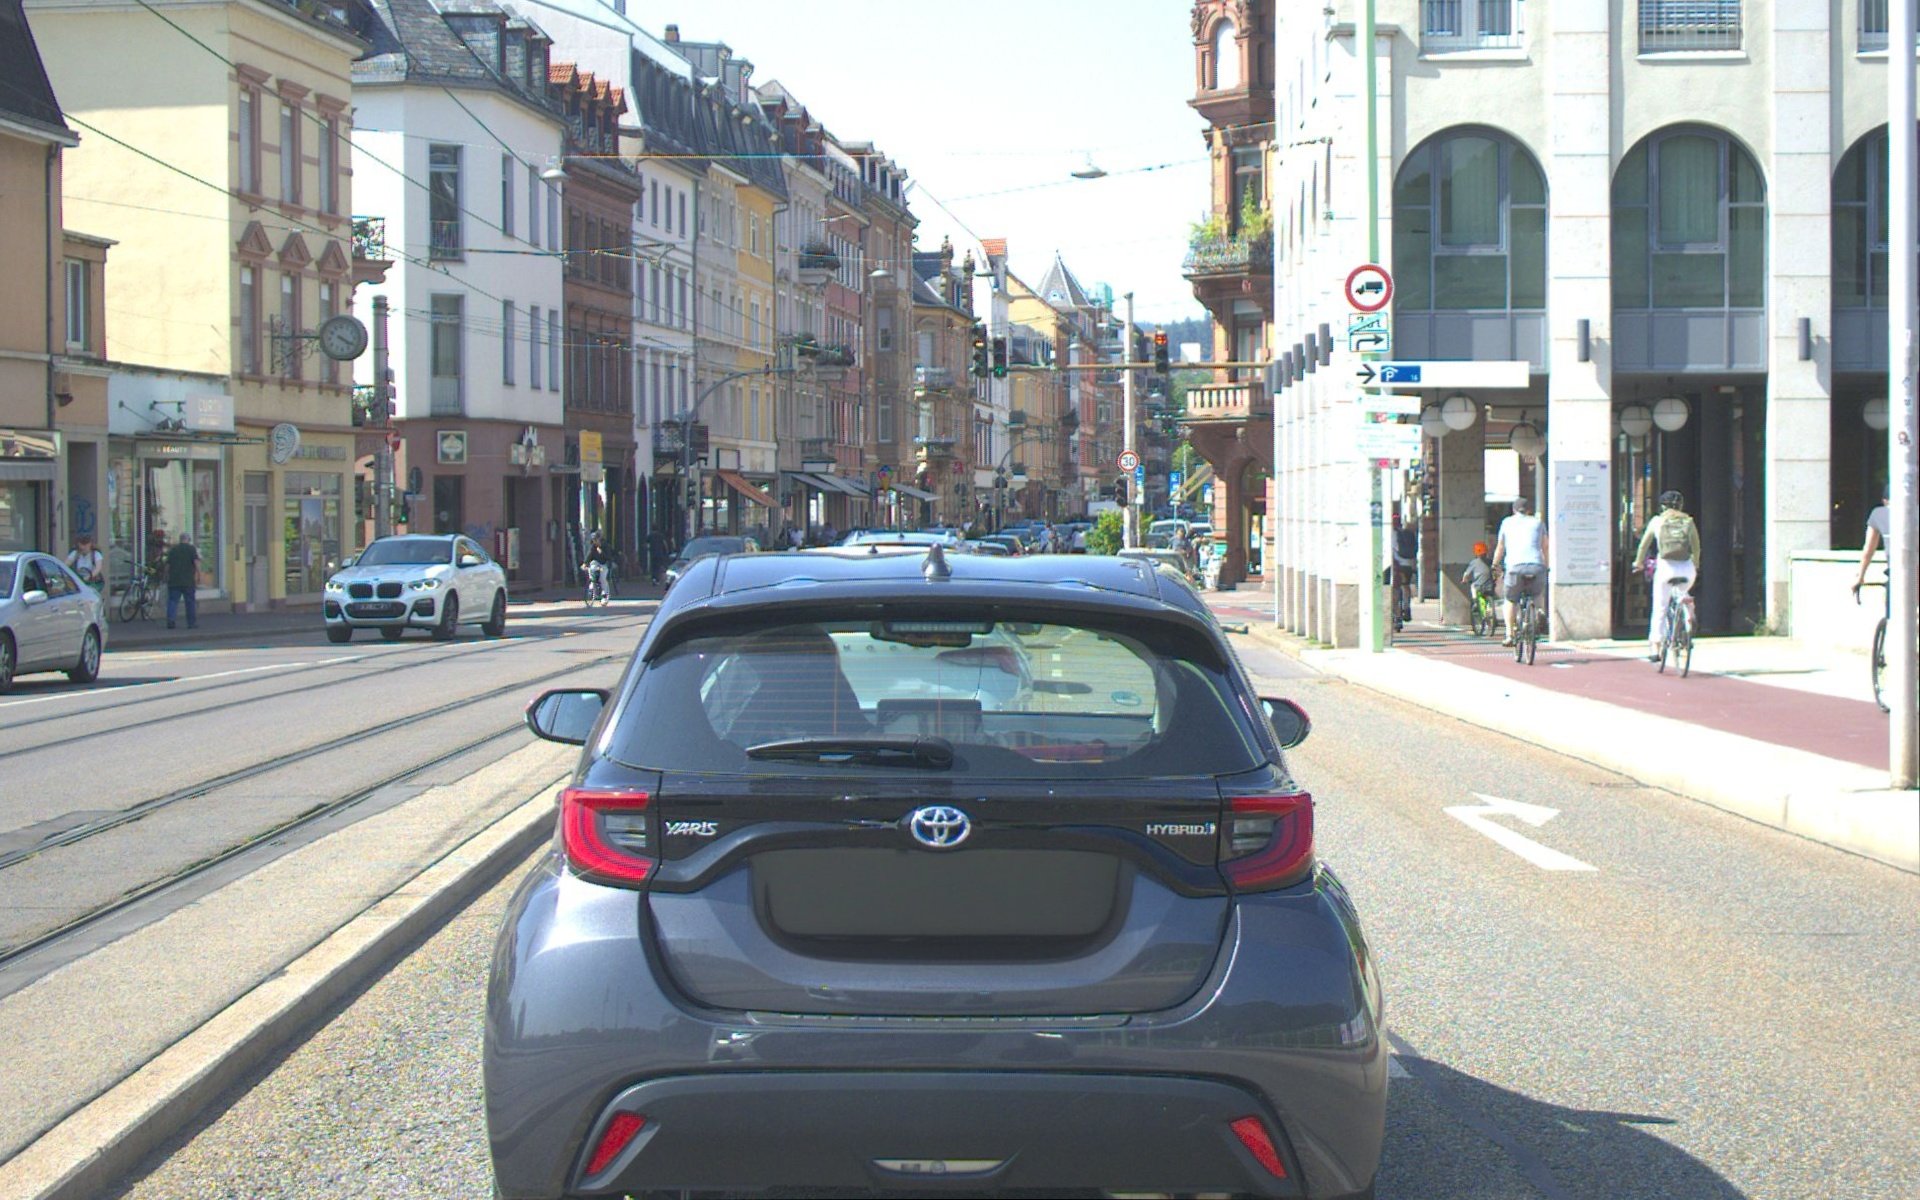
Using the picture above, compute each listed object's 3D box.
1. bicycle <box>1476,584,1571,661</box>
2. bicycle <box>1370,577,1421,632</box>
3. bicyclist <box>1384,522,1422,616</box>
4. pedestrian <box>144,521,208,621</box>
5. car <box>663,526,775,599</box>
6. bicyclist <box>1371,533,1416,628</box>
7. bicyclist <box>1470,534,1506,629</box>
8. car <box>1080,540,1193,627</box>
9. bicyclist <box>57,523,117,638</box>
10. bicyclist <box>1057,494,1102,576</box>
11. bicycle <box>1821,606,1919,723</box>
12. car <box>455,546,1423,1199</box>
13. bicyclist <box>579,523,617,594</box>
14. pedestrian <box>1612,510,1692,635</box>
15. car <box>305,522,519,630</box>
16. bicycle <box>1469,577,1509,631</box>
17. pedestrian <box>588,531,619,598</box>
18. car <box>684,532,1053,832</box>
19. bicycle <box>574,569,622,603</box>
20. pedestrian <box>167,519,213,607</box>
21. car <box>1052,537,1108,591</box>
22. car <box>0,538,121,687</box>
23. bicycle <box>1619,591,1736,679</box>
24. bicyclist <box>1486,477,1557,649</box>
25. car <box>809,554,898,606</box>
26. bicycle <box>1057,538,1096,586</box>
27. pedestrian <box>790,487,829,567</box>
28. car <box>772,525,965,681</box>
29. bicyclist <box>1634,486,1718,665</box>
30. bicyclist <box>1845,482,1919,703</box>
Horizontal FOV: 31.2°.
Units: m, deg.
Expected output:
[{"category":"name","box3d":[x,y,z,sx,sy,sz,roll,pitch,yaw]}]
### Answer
[{"category":"bicycle","box3d":[6.024,0.234,36.821,0.593,0.763,1.867,-1,1,-3]},{"category":"bicycle","box3d":[6.442,0.058,50.939,0.514,0.763,1.661,-2,1,0]},{"category":"bicyclist","box3d":[6.987,-0.489,54.211,0.442,1.461,0.484,-2,1,22]},{"category":"pedestrian","box3d":[-13.453,-0.498,59.005,0.762,1.648,0.711,4,1,7]},{"category":"car","box3d":[-5.262,-0.834,75.466,1.794,1.540,3.920,0,1,6]},{"category":"bicyclist","box3d":[6.431,-0.290,51.007,0.534,1.378,0.669,-2,1,-1]},{"category":"bicyclist","box3d":[7.758,-0.271,50.501,0.422,1.378,0.443,-2,1,-1]},{"category":"car","box3d":[3.150,-0.321,62.002,1.705,1.461,4.326,1,1,-1]},{"category":"bicyclist","box3d":[-12.750,-0.291,50.216,0.627,1.644,0.621,2,2,8]},{"category":"bicyclist","box3d":[3.804,-2.054,109.254,1.228,2.520,1.105,4,1,3]},{"category":"bicycle","box3d":[6.772,0.447,24.723,0.593,0.763,1.831,-1,1,-3]},{"category":"car","box3d":[-0.075,0.635,8.022,1.720,1.468,3.658,1,1,-1]},{"category":"bicyclist","box3d":[-8.494,-0.981,80.635,0.705,1.644,0.621,2,2,8]},{"category":"pedestrian","box3d":[9.288,-0.368,46.182,0.739,1.609,1.016,4,1,-1]},{"category":"car","box3d":[-8.352,-0.390,52.818,1.994,1.581,4.651,0,1,7]},{"category":"bicycle","box3d":[7.767,0.051,50.502,0.416,0.763,0.962,-2,1,0]},{"category":"pedestrian","box3d":[-9.442,-0.942,90.989,0.736,1.760,0.787,0,2,0]},{"category":"car","box3d":[-0.516,0.390,19.944,1.897,1.525,4.000,1,1,-1]},{"category":"bicycle","box3d":[-8.491,-0.335,80.716,0.620,0.713,2.044,2,2,9]},{"category":"pedestrian","box3d":[-14.521,-0.707,64.834,0.649,1.596,0.566,4,3,0]},{"category":"car","box3d":[4.849,-1.457,138.442,1.994,2.006,4.000,4,1,4]},{"category":"car","box3d":[-10.069,0.101,34.856,1.731,1.455,4.373,0,1,5]},{"category":"bicycle","box3d":[6.713,0.314,32.226,0.593,0.763,1.867,-1,1,-3]},{"category":"bicyclist","box3d":[6.010,-0.401,36.835,0.586,1.814,0.702,-1,1,-3]},{"category":"car","box3d":[-3.010,-0.577,98.350,1.994,1.427,3.999,1,1,6]},{"category":"bicycle","box3d":[3.714,-1.217,109.174,1.112,1.415,3.007,4,1,2]},{"category":"pedestrian","box3d":[-5.042,-2.446,115.455,1.051,2.579,1.501,4,1,0]},{"category":"car","box3d":[-0.951,-0.010,36.312,1.897,1.525,4.000,1,1,-1]},{"category":"bicyclist","box3d":[6.702,-0.237,32.209,0.586,1.645,0.702,-1,1,-3]},{"category":"bicyclist","box3d":[6.765,-0.062,24.676,0.586,1.553,0.702,-1,1,-3]}]
